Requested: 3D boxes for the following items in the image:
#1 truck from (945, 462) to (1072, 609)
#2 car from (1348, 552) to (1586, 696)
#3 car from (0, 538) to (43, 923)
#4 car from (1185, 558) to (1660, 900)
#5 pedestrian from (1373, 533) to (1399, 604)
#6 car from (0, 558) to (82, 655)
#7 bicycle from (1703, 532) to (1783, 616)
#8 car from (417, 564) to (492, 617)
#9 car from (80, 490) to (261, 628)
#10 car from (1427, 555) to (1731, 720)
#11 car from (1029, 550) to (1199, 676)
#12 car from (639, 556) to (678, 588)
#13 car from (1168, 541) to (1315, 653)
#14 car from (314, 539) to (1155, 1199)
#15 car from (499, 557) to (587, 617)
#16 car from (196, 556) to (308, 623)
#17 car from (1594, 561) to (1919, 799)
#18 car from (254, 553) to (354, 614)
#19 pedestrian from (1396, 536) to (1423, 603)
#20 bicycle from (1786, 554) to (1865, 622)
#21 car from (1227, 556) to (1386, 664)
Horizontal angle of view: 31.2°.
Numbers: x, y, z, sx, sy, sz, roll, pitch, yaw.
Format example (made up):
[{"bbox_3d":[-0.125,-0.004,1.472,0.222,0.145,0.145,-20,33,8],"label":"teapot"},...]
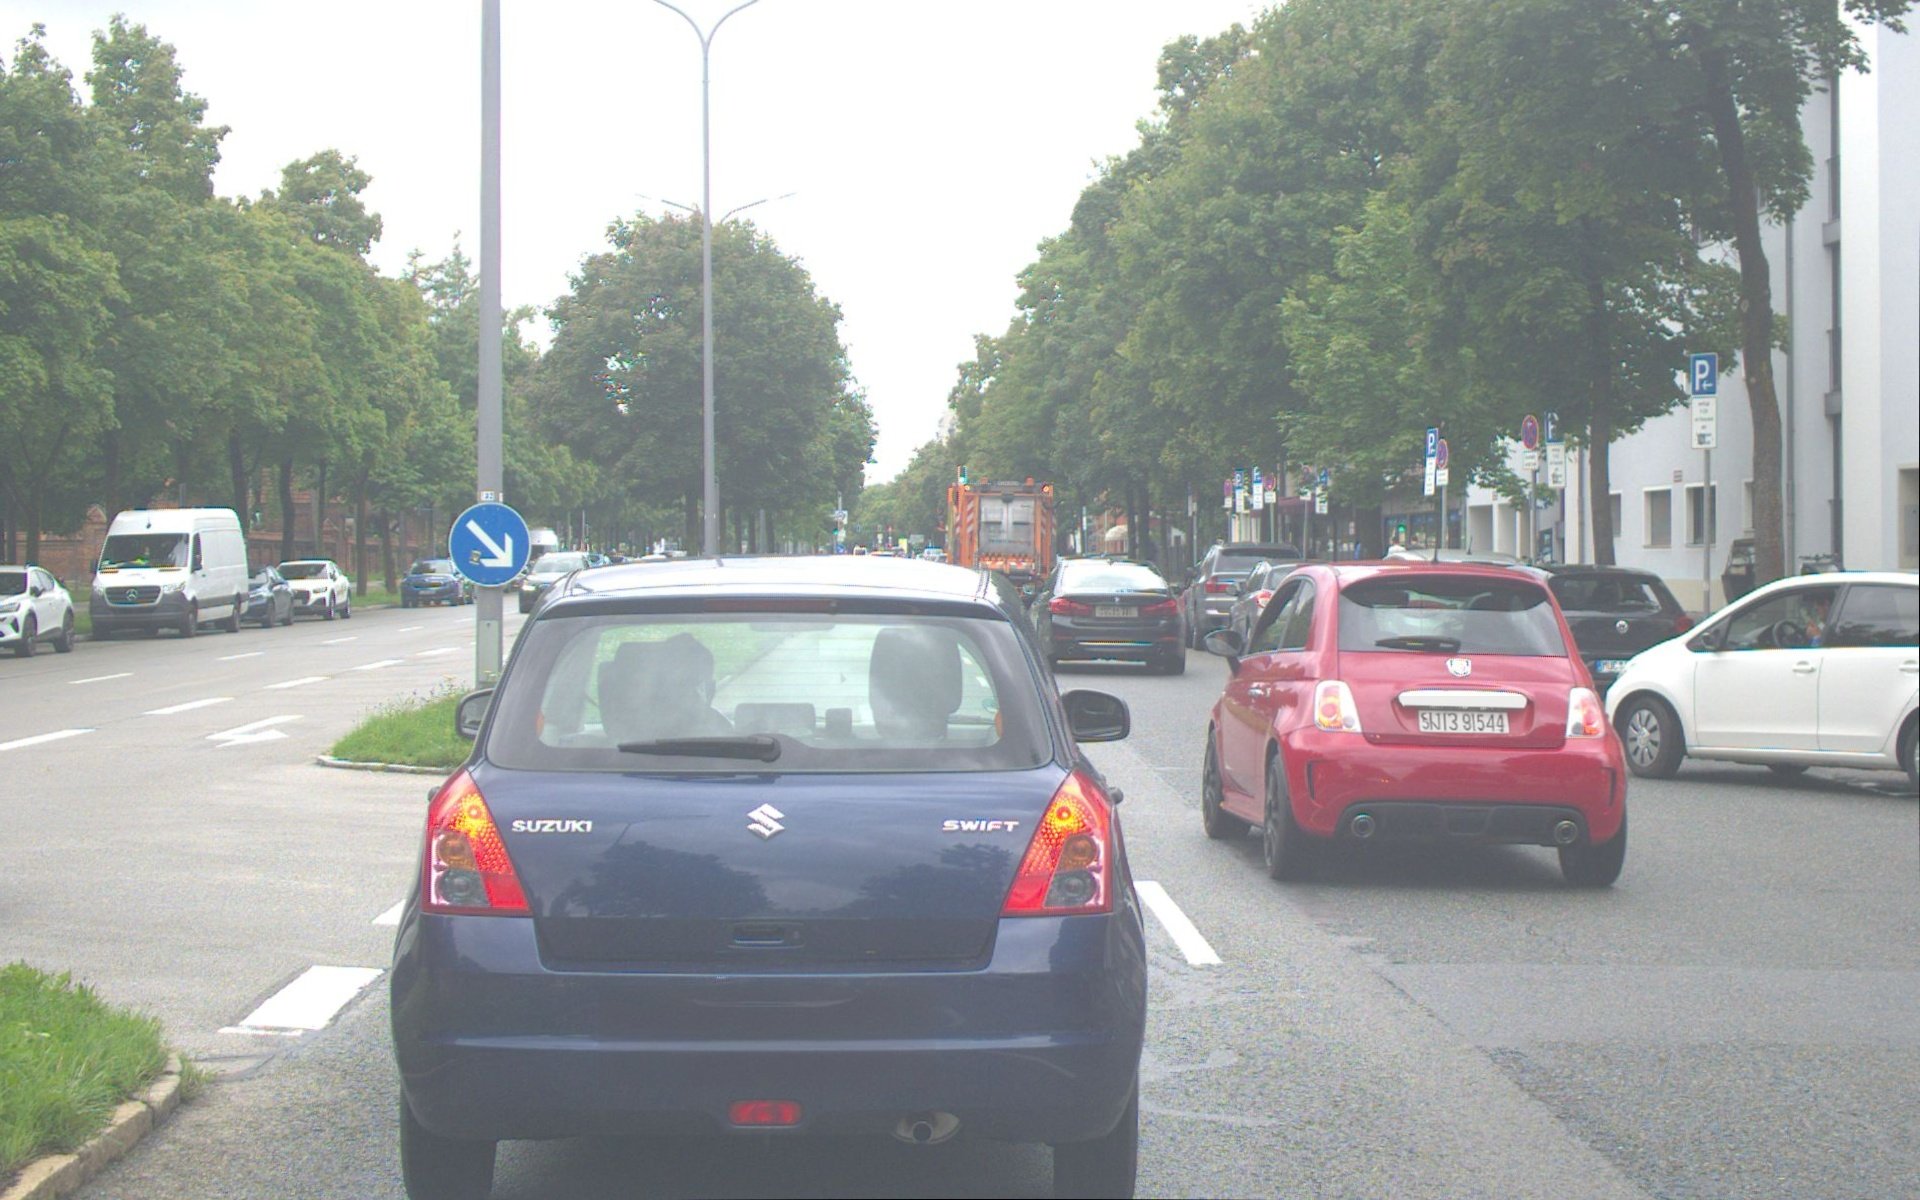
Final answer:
[{"bbox_3d":[1.135,-1.659,89.680,3.041,3.545,13.675,0,1,0],"label":"truck"},{"bbox_3d":[5.635,0.221,38.709,1.829,1.517,4.524,0,1,-2],"label":"car"},{"bbox_3d":[-5.739,0.527,13.575,3.709,1.548,1.827,0,1,4],"label":"car"},{"bbox_3d":[2.198,0.549,17.426,1.718,1.495,4.301,0,1,-1],"label":"car"},{"bbox_3d":[10.549,-0.777,85.188,0.499,1.727,0.733,-2,1,-1],"label":"pedestrian"},{"bbox_3d":[-15.862,0.134,56.627,1.821,1.522,4.299,-2,0,-2],"label":"car"},{"bbox_3d":[13.638,-0.460,59.934,0.702,1.402,2.593,-2,1,-1],"label":"bicycle"},{"bbox_3d":[-16.030,-0.319,109.234,1.886,1.532,4.315,-3,1,-3],"label":"car"},{"bbox_3d":[-16.164,-0.777,70.799,2.139,2.635,7.105,-1,-1,-1],"label":"car"},{"bbox_3d":[5.813,0.310,32.725,1.829,1.468,3.889,0,1,-6],"label":"car"},{"bbox_3d":[1.932,0.127,44.410,1.821,1.472,4.691,2,1,-1],"label":"car"},{"bbox_3d":[-15.246,-1.431,173.992,1.761,1.532,4.315,-3,1,-4],"label":"car"},{"bbox_3d":[4.526,-0.083,55.858,1.829,1.740,4.509,0,1,-2],"label":"car"},{"bbox_3d":[-0.484,0.592,9.173,1.753,1.499,4.000,0,1,0],"label":"car"},{"bbox_3d":[-10.677,-0.352,88.292,1.815,1.443,4.783,-1,1,-2],"label":"car"},{"bbox_3d":[-16.141,-0.232,78.551,1.857,1.485,4.252,0,0,-2],"label":"car"},{"bbox_3d":[6.127,0.494,23.004,1.687,1.485,3.434,-1,1,-39],"label":"car"},{"bbox_3d":[-16.412,-0.398,86.168,1.857,1.485,4.142,0,0,-2],"label":"car"},{"bbox_3d":[11.142,-0.754,85.205,0.549,1.624,0.641,-2,1,-1],"label":"pedestrian"},{"bbox_3d":[13.945,-0.205,55.417,0.621,1.043,2.195,-4,1,-1],"label":"bicycle"},{"bbox_3d":[5.092,0.119,51.011,1.829,1.517,3.771,0,1,-2],"label":"car"}]
